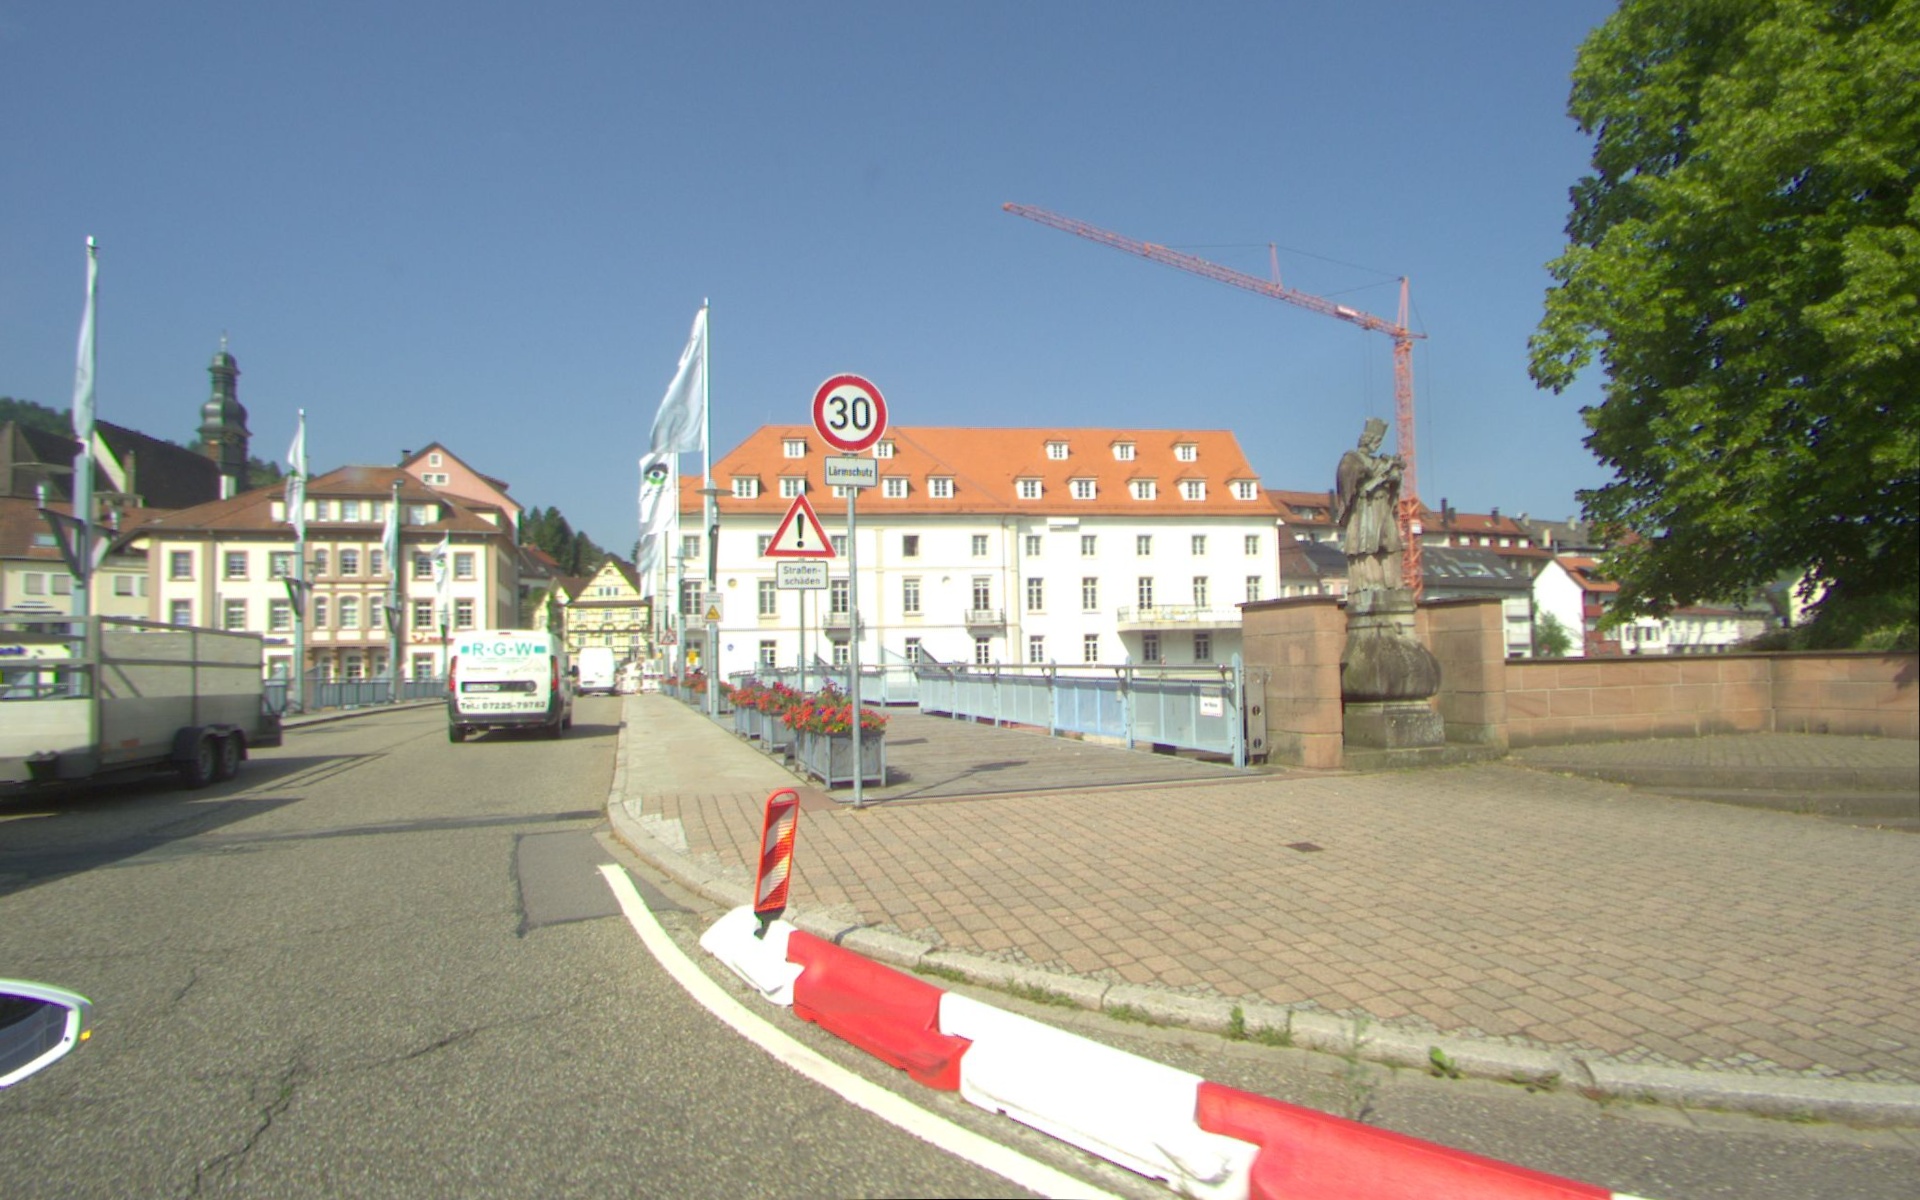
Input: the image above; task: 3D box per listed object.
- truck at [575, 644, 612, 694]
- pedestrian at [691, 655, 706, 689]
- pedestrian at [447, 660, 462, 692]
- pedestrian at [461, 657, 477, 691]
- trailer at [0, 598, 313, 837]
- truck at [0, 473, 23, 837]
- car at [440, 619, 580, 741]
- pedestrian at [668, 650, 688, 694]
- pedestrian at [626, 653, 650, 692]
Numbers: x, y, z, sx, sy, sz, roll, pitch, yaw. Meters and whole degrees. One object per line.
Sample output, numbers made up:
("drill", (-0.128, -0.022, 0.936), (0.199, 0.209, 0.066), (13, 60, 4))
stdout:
("truck", (-19.948, 3.768, 54.625), (1.835, 2.616, 4.255), (1, -4, -19))
("pedestrian", (-10.038, 2.765, 38.422), (0.446, 1.259, 0.625), (0, -3, -24))
("pedestrian", (-26.317, 3.939, 52.156), (0.575, 1.629, 0.536), (1, -3, -19))
("pedestrian", (-25.623, 3.869, 52.303), (0.606, 1.784, 0.862), (1, -3, -19))
("trailer", (-9.158, 1.050, 10.249), (2.571, 1.850, 5.634), (-1, -2, -14))
("truck", (-7.476, 0.251, 4.056), (2.073, 2.732, 7.130), (-1, -3, -13))
("car", (-8.050, 1.436, 18.276), (1.818, 1.929, 4.311), (1, -4, -18))
("pedestrian", (-10.611, 2.692, 37.659), (0.657, 1.638, 0.562), (0, -3, -20))
("pedestrian", (-14.590, 3.272, 45.334), (0.719, 1.744, 0.743), (-2, -3, 37))
